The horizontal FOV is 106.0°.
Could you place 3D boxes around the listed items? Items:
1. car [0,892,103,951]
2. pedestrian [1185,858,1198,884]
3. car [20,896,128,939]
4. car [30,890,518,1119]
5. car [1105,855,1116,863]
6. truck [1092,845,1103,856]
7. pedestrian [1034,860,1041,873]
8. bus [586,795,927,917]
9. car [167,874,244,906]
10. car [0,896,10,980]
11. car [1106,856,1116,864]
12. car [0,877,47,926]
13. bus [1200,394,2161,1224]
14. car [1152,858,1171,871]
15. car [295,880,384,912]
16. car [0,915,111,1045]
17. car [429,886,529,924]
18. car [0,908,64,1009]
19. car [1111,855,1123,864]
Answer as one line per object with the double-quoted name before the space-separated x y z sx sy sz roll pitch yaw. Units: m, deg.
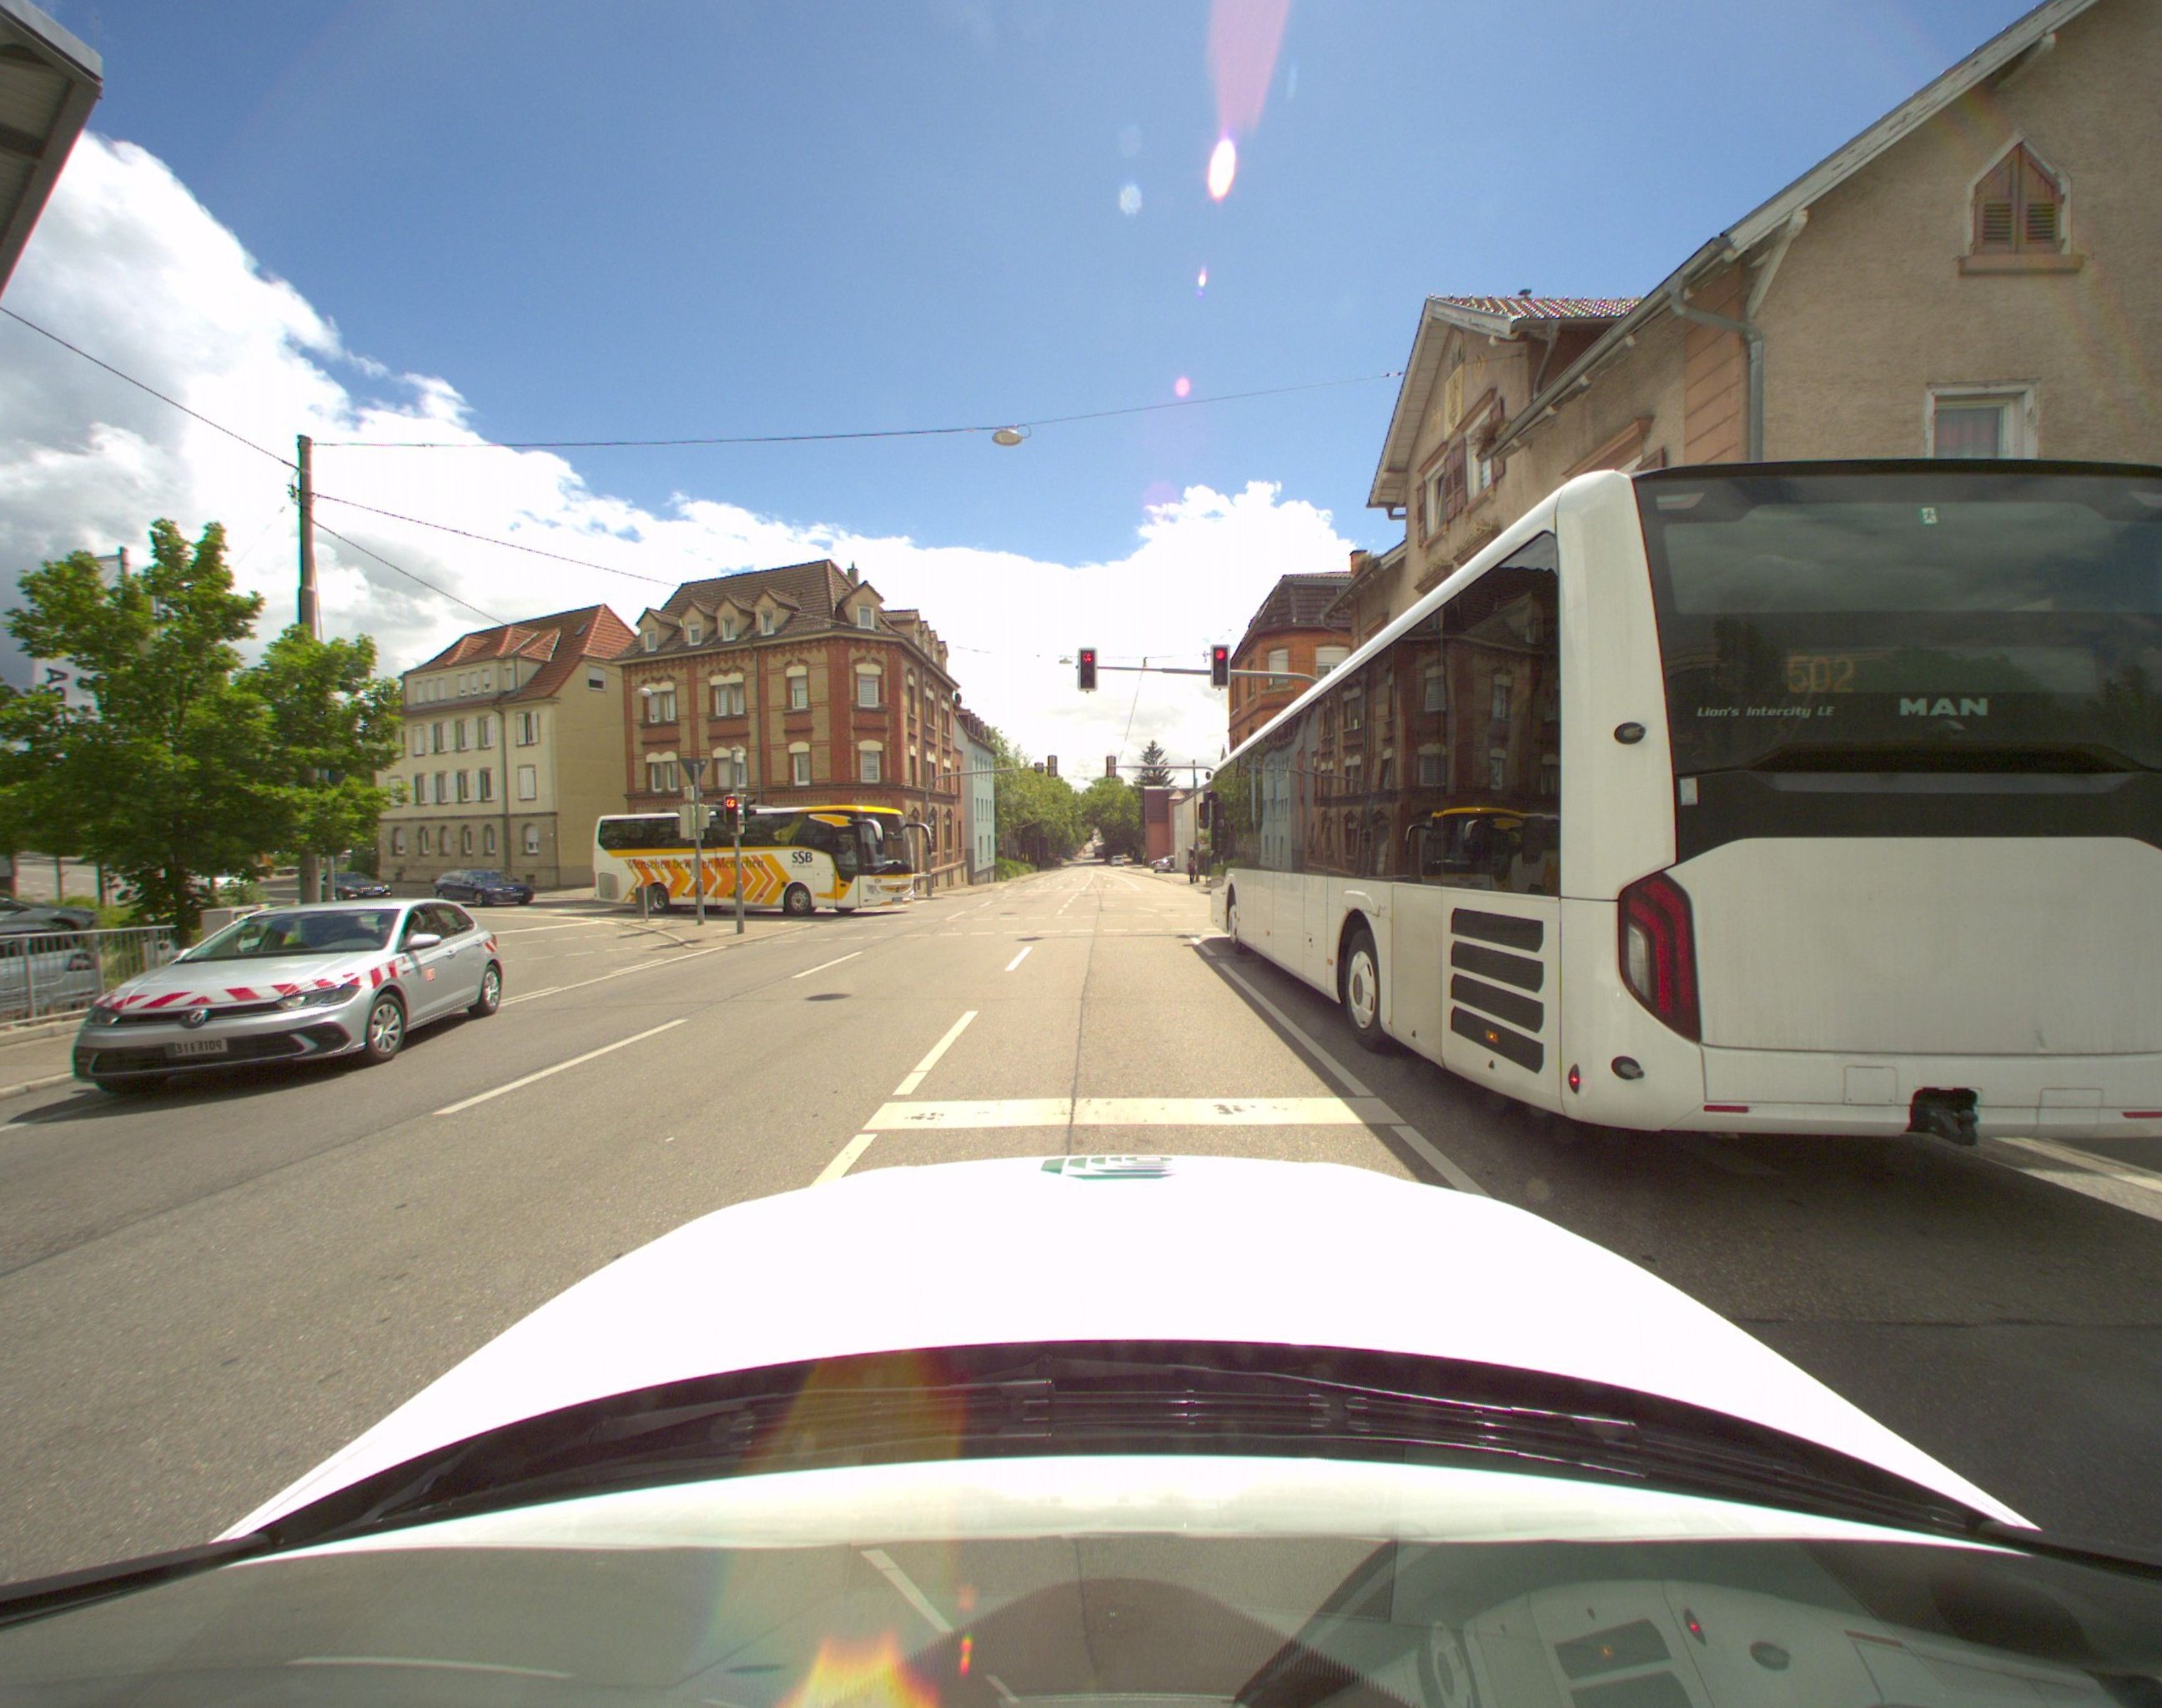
"car" -29.585 1.865 22.187 1.777 1.477 3.522 -2 0 32
"pedestrian" 7.512 1.139 55.355 0.736 1.750 0.619 -2 0 1
"car" -37.918 2.358 30.672 3.456 1.448 1.811 -2 0 26
"car" -7.077 1.149 7.755 1.885 1.418 3.596 -4 -1 -20
"car" 5.282 0.973 145.929 1.787 1.409 4.421 -1 0 3
"truck" 4.819 -0.903 238.908 2.917 3.081 7.883 -2 0 0
"pedestrian" -5.362 1.579 99.973 0.727 1.565 0.561 -1 -1 0
"bus" -11.241 0.156 27.669 12.117 3.621 2.786 -1 0 22
"car" -47.144 1.924 43.823 3.949 1.554 1.923 -2 0 29
"car" -23.552 1.737 16.540 3.455 1.680 1.663 -1 2 30
"car" 5.739 1.109 154.028 1.787 1.409 4.421 -1 0 3
"car" -36.223 1.596 25.769 1.785 1.553 4.023 -2 0 25
"bus" 3.451 -0.165 9.409 2.662 3.155 12.467 -2 0 2
"car" 9.222 1.165 93.032 1.788 1.409 4.000 -2 0 1
"car" -35.276 1.980 38.753 3.949 1.409 1.923 -2 0 29
"car" -16.031 1.814 12.031 3.321 1.560 1.692 0 2 32
"car" -24.755 2.080 33.495 3.949 1.409 1.762 -2 0 28
"car" -19.494 1.826 14.188 3.455 1.526 1.626 -1 2 29
"car" 5.757 0.936 129.427 1.787 1.409 4.003 -1 0 3
